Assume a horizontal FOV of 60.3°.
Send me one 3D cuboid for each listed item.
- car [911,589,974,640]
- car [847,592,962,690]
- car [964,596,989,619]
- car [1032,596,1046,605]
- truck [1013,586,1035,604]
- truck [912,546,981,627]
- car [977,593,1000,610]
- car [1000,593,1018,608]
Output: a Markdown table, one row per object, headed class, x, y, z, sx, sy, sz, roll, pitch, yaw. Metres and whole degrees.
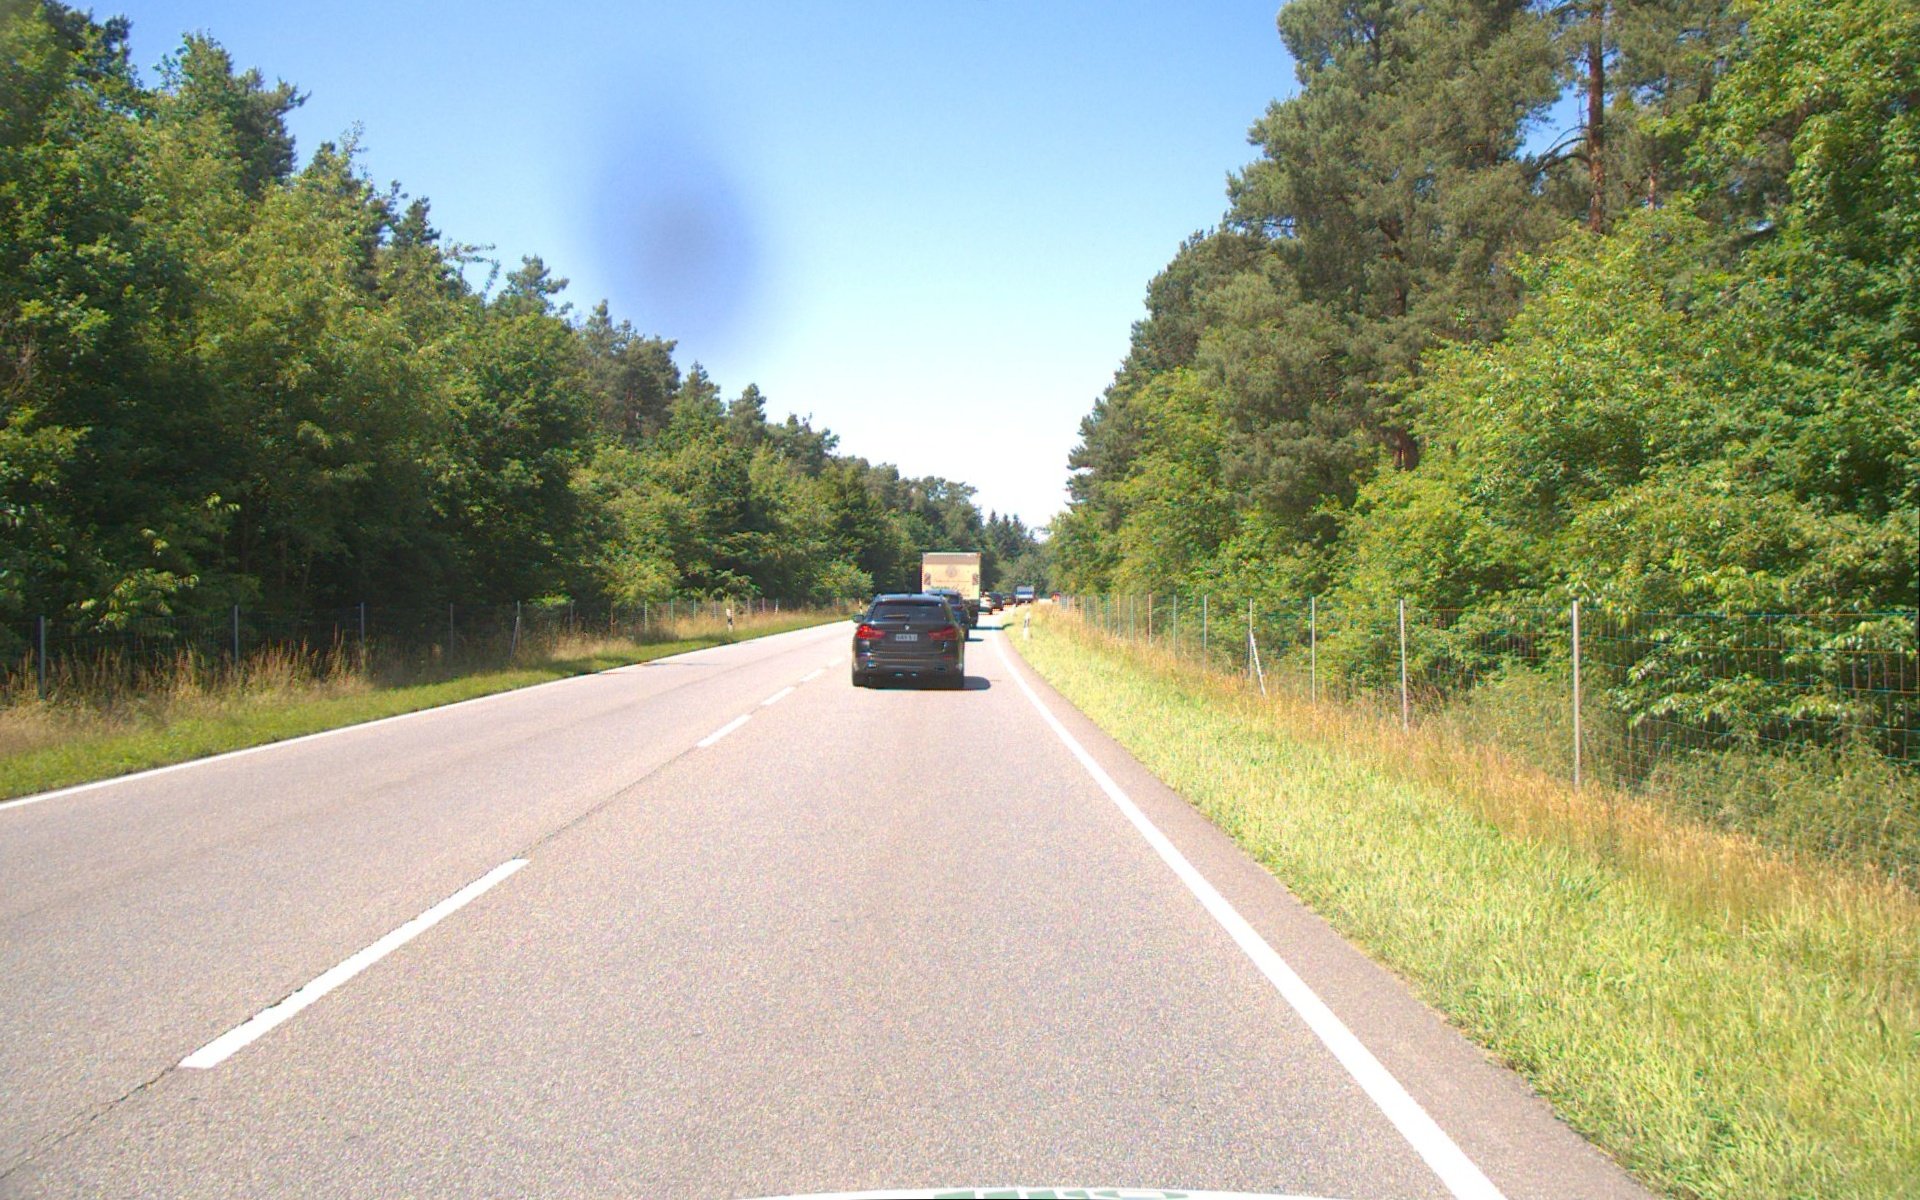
| class | x | y | z | sx | sy | sz | roll | pitch | yaw |
| --- | --- | --- | --- | --- | --- | --- | --- | --- | --- |
| car | -0.545 | 0.452 | 54.486 | 1.907 | 1.568 | 4.001 | -1 | 0 | 2 |
| car | -0.935 | 0.626 | 27.653 | 1.784 | 1.496 | 3.998 | 0 | 0 | -2 |
| car | 1.207 | 0.562 | 122.550 | 1.825 | 1.633 | 4.000 | 0 | 0 | 0 |
| car | 11.586 | 0.071 | 241.122 | 1.756 | 1.378 | 3.931 | 0 | 0 | 7 |
| truck | 8.135 | -0.672 | 210.386 | 2.509 | 2.240 | 4.977 | -1 | 1 | 6 |
| truck | -0.650 | -0.617 | 73.478 | 2.906 | 3.447 | 6.436 | 0 | 0 | -2 |
| car | 2.532 | 0.103 | 149.603 | 1.953 | 1.445 | 4.000 | 1 | 0 | 0 |
| car | 5.559 | 0.075 | 186.145 | 1.952 | 1.665 | 4.002 | -1 | 0 | 3 |
